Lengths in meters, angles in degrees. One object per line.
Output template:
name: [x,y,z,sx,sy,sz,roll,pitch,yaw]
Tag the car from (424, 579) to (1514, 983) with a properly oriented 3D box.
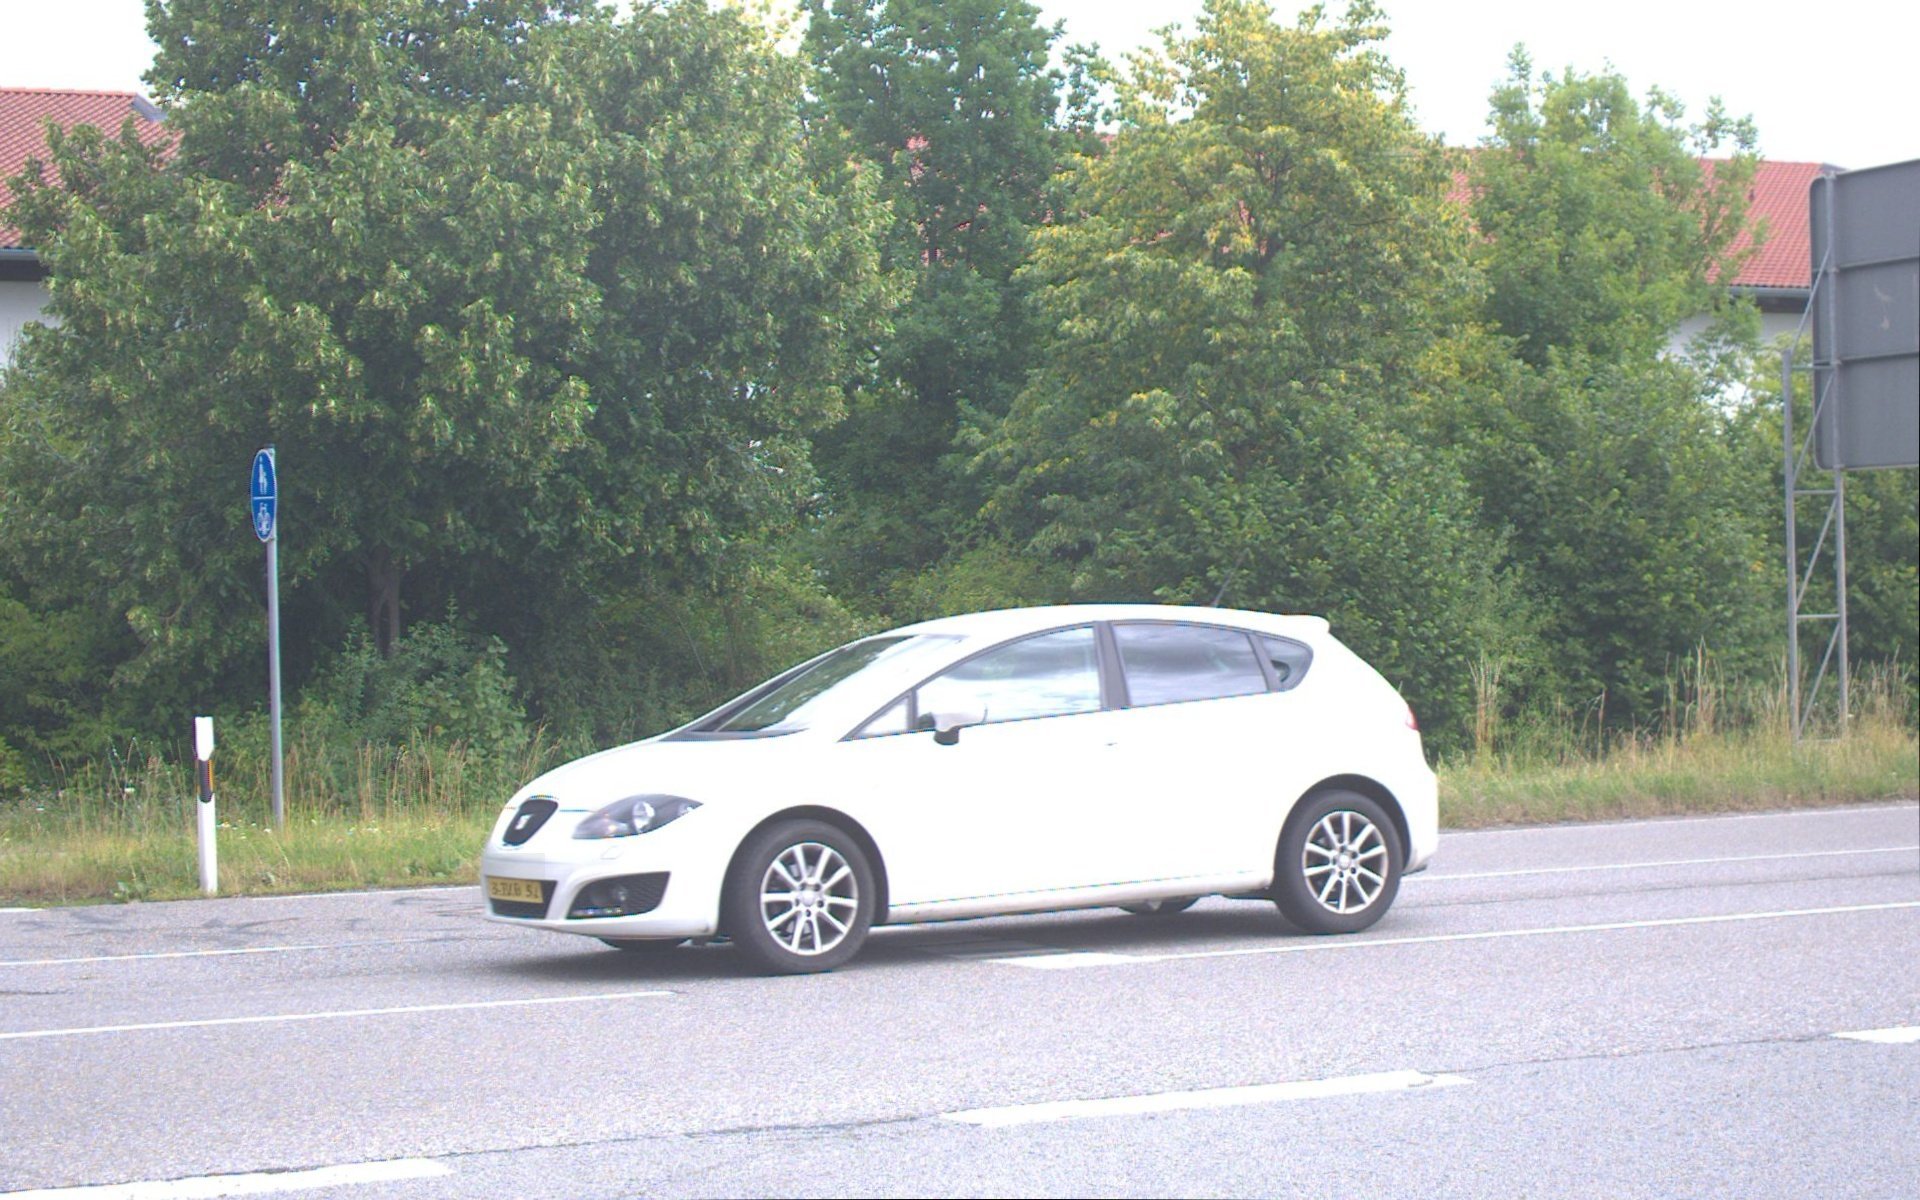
car: [0.062,0.699,14.832,4.298,1.403,1.820,-2,0,-27]
